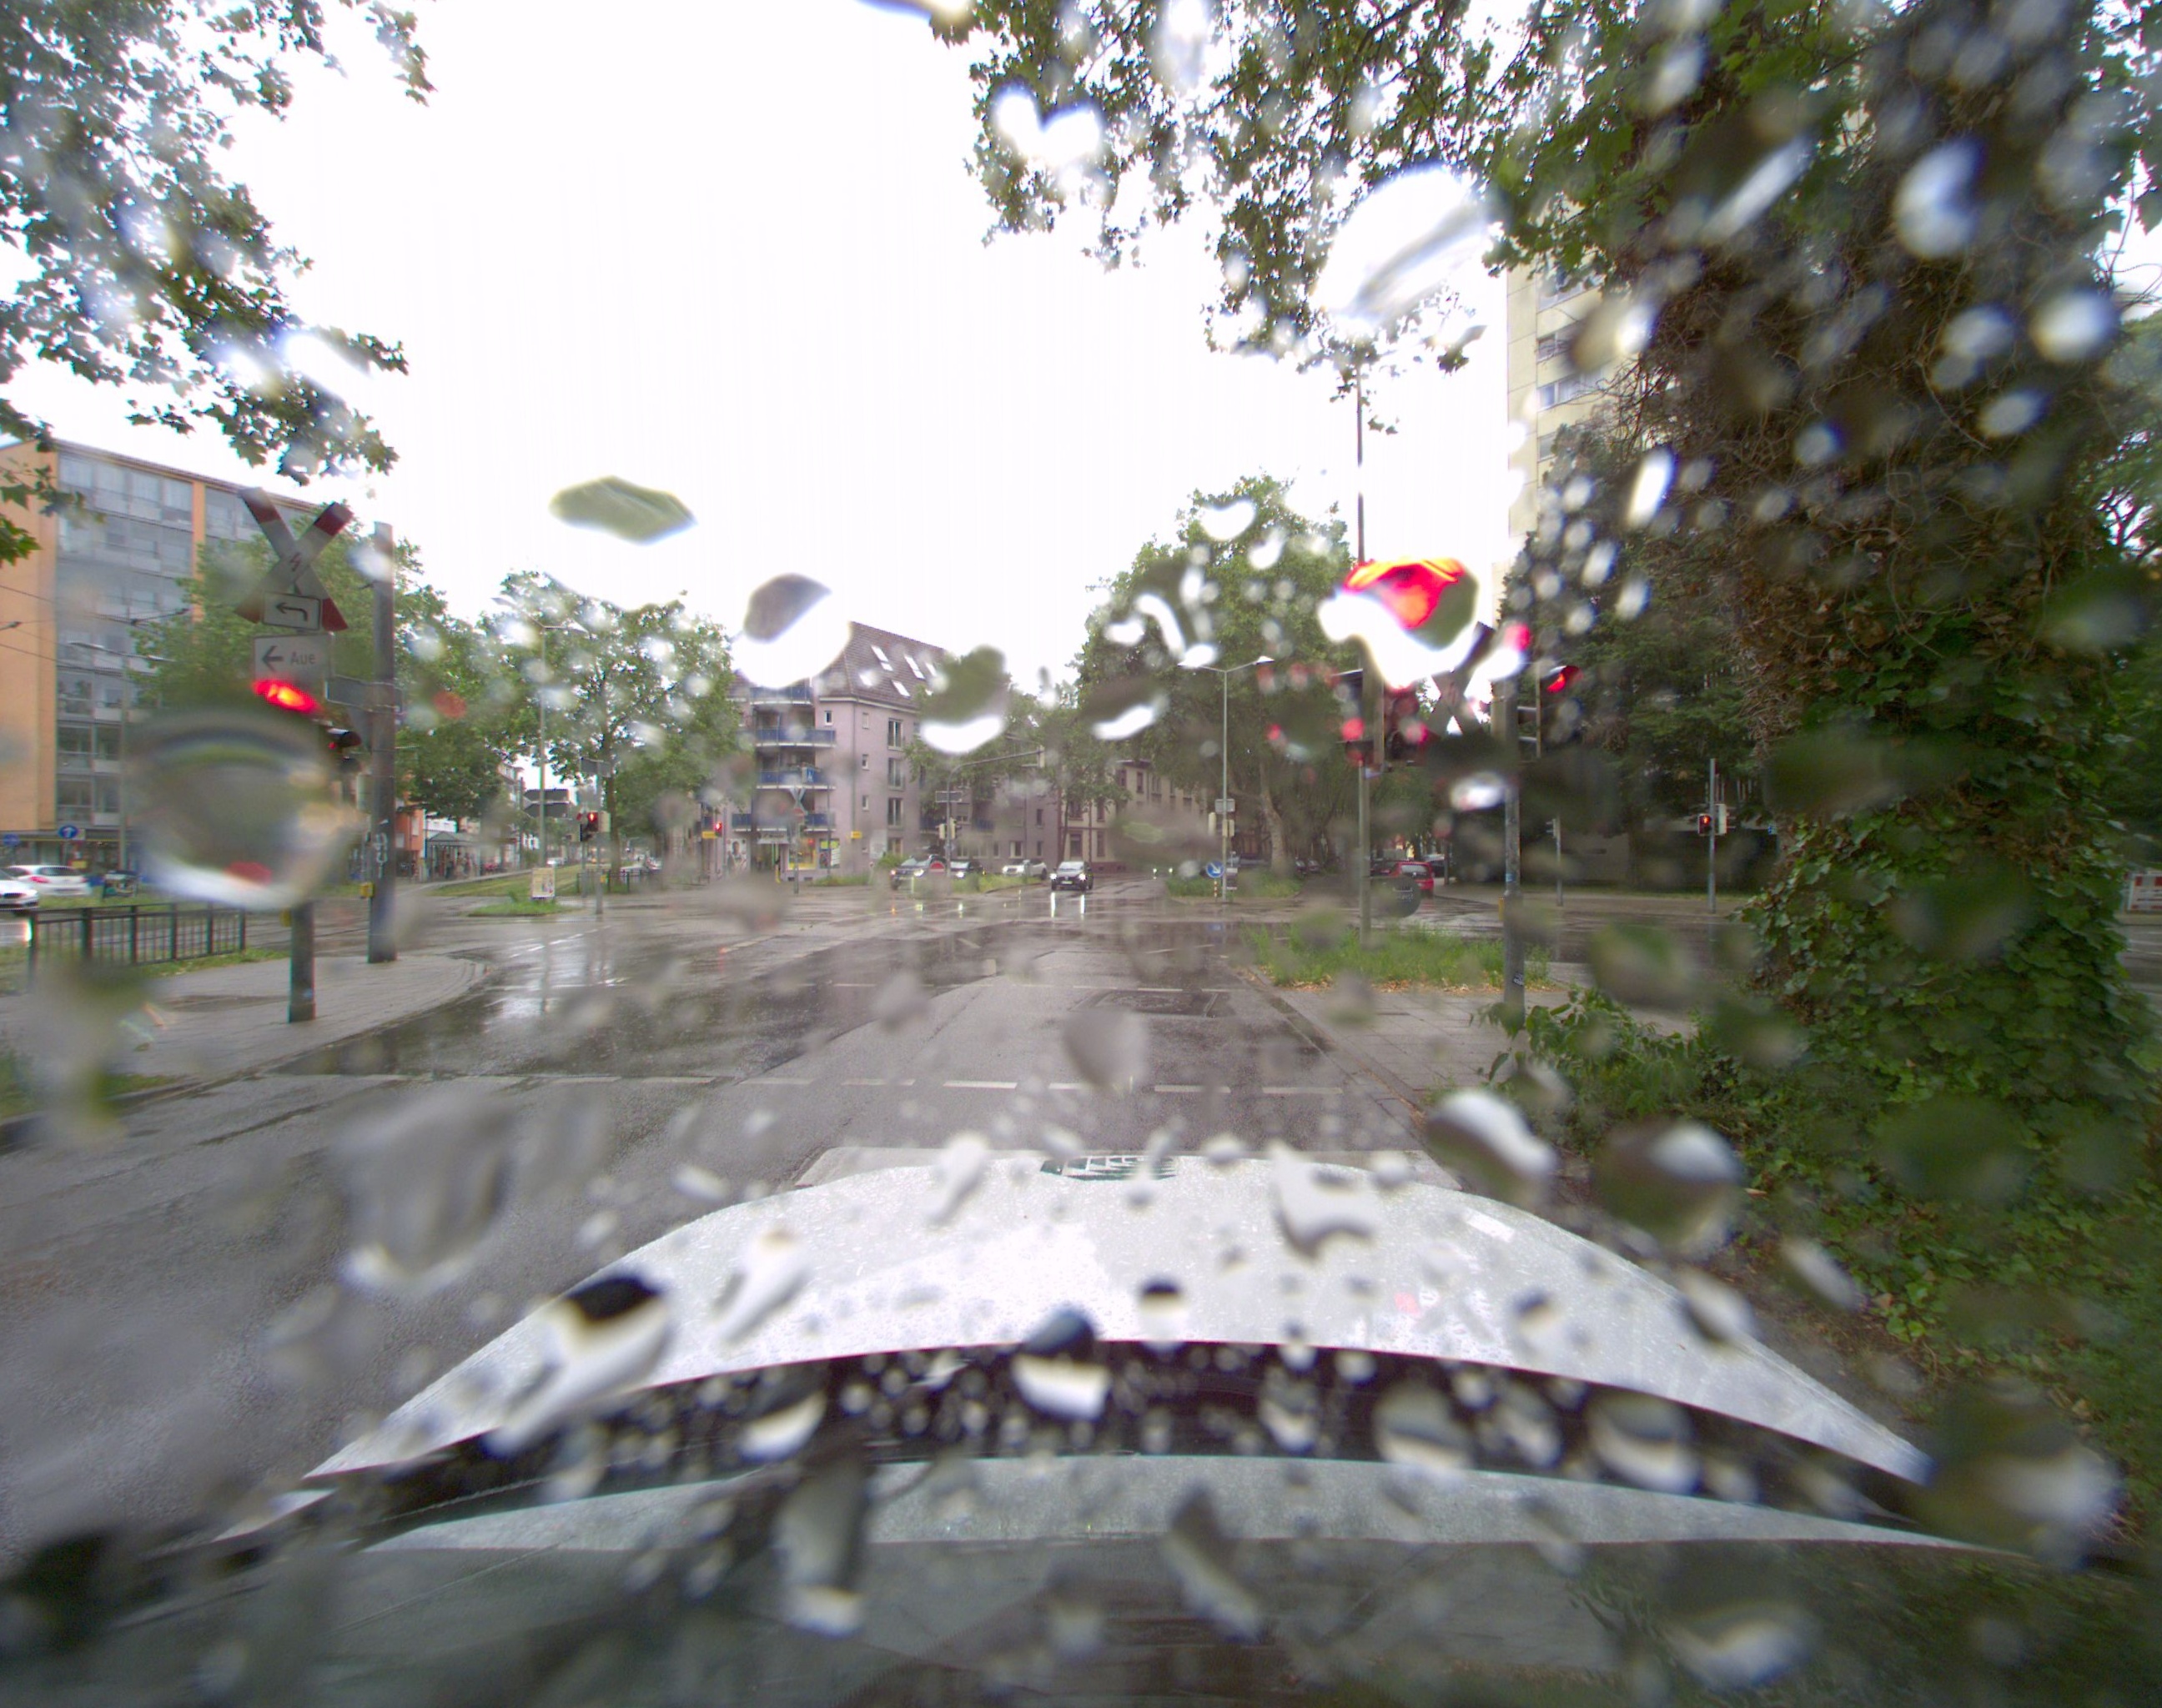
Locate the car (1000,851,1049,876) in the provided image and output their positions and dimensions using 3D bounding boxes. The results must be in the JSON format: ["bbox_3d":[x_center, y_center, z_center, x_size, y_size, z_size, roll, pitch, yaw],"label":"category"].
[{"bbox_3d":[-3.912,0.641,56.959,1.662,1.552,4.222,-2,0,23],"label":"car"}]

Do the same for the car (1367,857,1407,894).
[{"bbox_3d":[17.828,1.220,47.601,1.977,2.013,4.019,-2,0,18],"label":"car"}]

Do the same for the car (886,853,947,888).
[{"bbox_3d":[-7.834,0.752,39.129,1.715,1.552,3.567,-2,0,8],"label":"car"}]

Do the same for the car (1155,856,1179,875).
[{"bbox_3d":[7.378,0.966,69.663,1.591,1.552,3.571,-2,0,12],"label":"car"}]

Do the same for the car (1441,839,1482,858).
[{"bbox_3d":[42.557,-0.607,91.092,3.953,2.013,1.716,-2,0,21],"label":"car"}]

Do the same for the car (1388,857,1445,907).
[{"bbox_3d":[14.865,1.209,36.290,1.977,2.013,4.019,-2,0,18],"label":"car"}]

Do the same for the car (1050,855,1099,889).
[{"bbox_3d":[-0.269,0.885,40.609,1.591,1.552,3.572,-2,0,13],"label":"car"}]

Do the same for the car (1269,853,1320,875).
[{"bbox_3d":[17.133,0.797,65.347,3.571,1.618,1.692,-2,0,30],"label":"car"}]

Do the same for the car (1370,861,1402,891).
[{"bbox_3d":[22.125,1.564,59.212,1.977,2.013,4.019,-2,0,18],"label":"car"}]

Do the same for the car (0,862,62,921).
[{"bbox_3d":[-32.146,1.123,23.435,3.978,1.651,1.980,-2,0,13],"label":"car"}]

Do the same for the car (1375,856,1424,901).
[{"bbox_3d":[15.812,1.174,40.604,1.977,2.013,4.019,-2,0,18],"label":"car"}]

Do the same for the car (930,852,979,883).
[{"bbox_3d":[-6.974,0.718,45.250,1.715,1.552,3.567,-2,0,8],"label":"car"}]

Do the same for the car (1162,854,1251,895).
[{"bbox_3d":[5.107,0.817,33.013,3.457,1.523,1.524,-2,0,10],"label":"car"}]

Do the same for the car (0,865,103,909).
[{"bbox_3d":[-38.930,1.237,30.172,3.621,1.486,1.729,-2,0,7],"label":"car"}]
